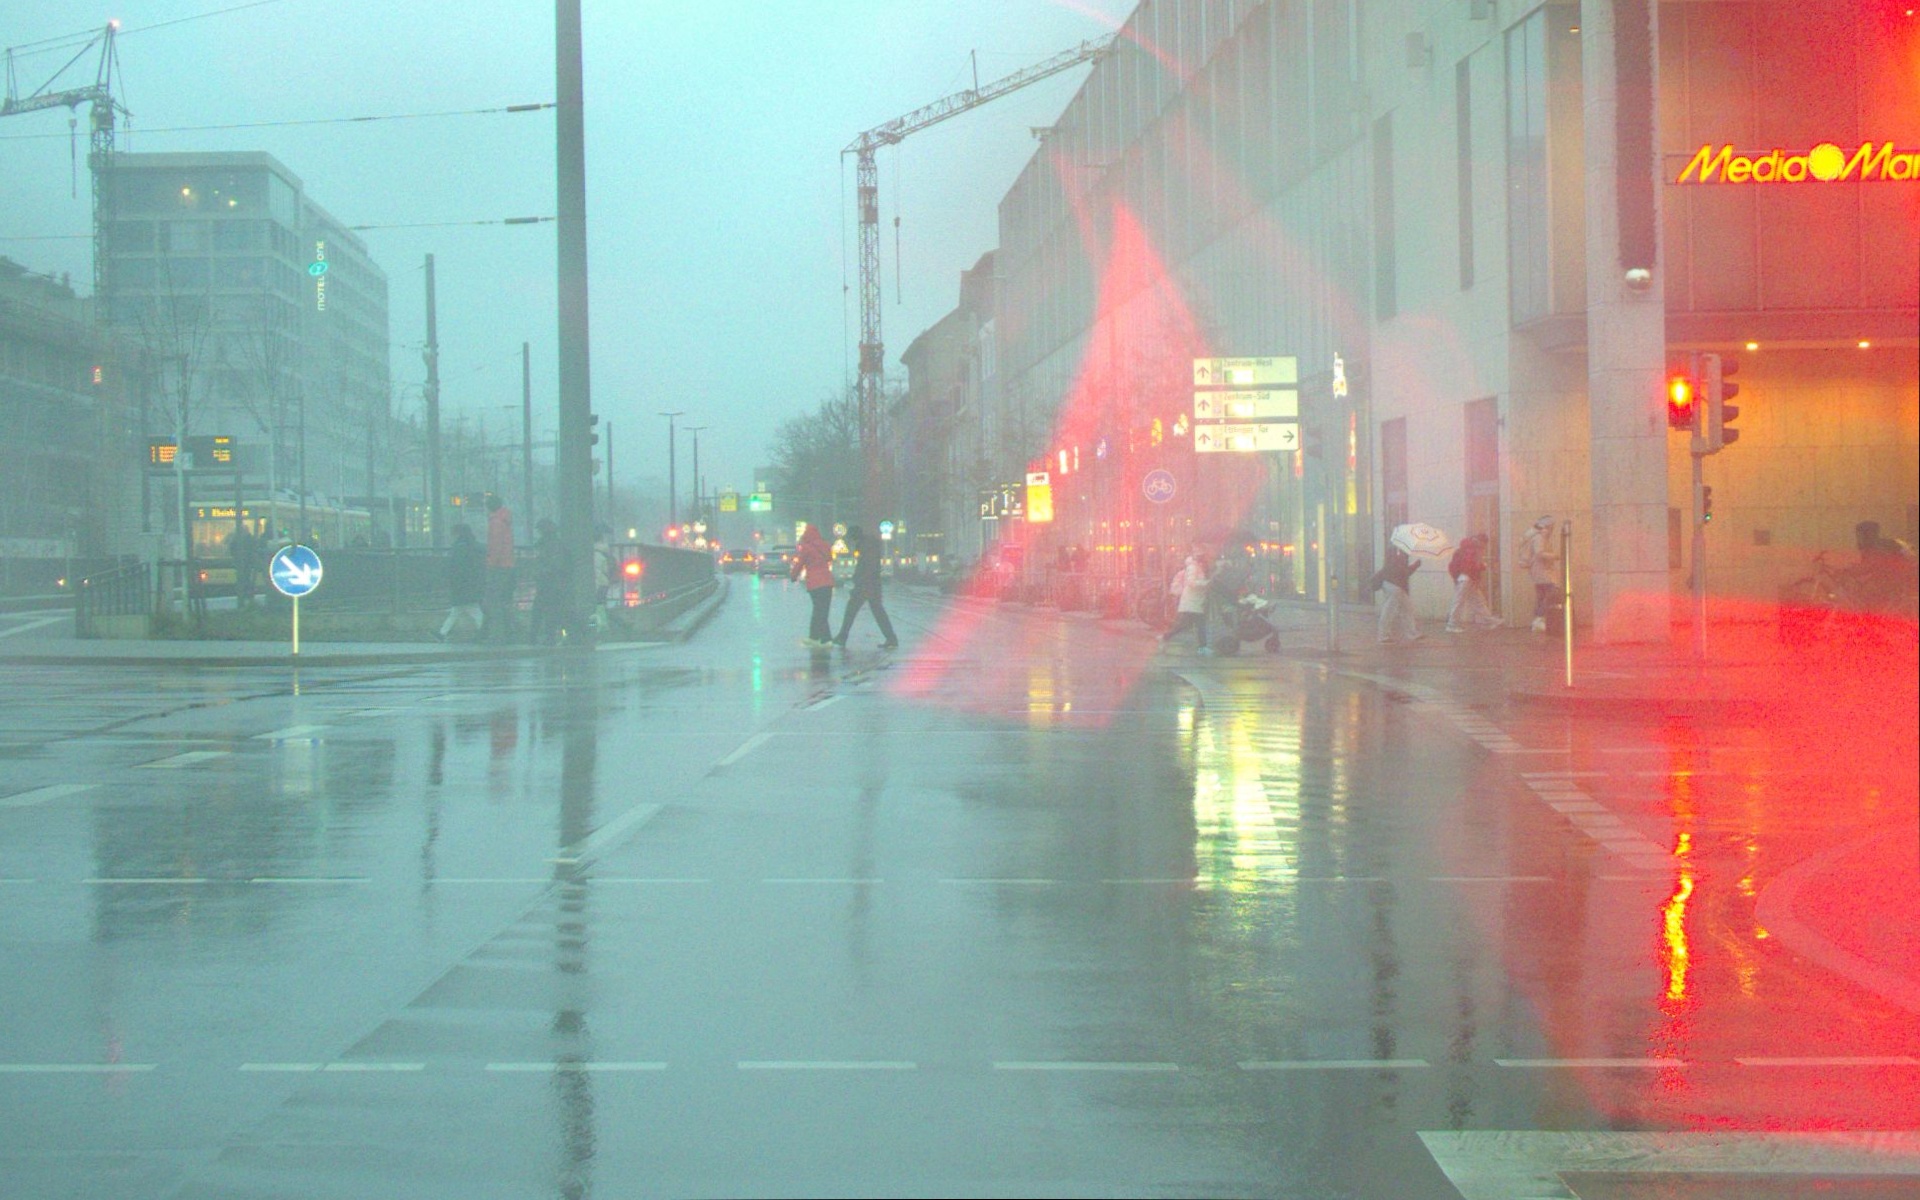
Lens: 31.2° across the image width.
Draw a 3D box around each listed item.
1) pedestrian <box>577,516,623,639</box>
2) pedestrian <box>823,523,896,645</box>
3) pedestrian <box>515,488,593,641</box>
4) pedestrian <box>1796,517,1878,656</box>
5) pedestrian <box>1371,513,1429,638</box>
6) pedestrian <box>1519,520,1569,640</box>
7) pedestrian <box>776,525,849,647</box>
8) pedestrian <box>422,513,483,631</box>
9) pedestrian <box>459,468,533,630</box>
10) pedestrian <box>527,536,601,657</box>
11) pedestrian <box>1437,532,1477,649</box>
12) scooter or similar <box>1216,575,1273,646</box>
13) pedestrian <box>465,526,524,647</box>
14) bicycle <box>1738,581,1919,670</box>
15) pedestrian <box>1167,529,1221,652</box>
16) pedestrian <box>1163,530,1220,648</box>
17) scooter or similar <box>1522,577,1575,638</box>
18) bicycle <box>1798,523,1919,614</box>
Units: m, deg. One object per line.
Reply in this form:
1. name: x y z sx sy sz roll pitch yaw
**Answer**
1. pedestrian: -5.114 -0.323 48.893 0.619 1.740 0.613 -1 1 -6
2. pedestrian: -1.415 -0.227 48.349 0.843 1.682 0.677 -1 1 15
3. pedestrian: -5.362 -0.472 45.416 0.775 2.007 0.613 -2 1 -38
4. pedestrian: 10.011 -0.158 39.255 0.815 1.564 0.536 -1 1 5
5. pedestrian: 6.238 -0.355 48.769 0.702 1.754 0.667 -1 1 0
6. pedestrian: 8.618 -0.294 50.738 0.617 1.754 0.482 -1 1 0
7. pedestrian: -2.046 -0.197 47.684 0.831 1.673 0.619 -1 1 14
8. pedestrian: -7.041 -0.393 47.752 0.706 1.613 0.680 -1 1 1
9. pedestrian: -6.012 -0.658 44.570 0.686 2.080 0.613 -2 1 -40
10. pedestrian: -5.347 -0.048 46.442 0.817 1.613 0.538 -1 1 37
11. pedestrian: 7.482 -0.144 51.779 0.512 1.754 0.374 -1 1 0
12. scooter or similar: 4.037 0.145 48.794 0.741 0.990 0.400 -1 1 12
13. pedestrian: -6.266 -0.184 46.316 0.706 1.613 0.613 -1 1 -3
14. bicycle: 10.009 0.287 39.259 2.129 0.988 0.541 0 0 6
15. pedestrian: 3.395 -0.142 49.882 0.703 1.754 0.652 -1 1 0
16. pedestrian: 3.299 -0.156 48.937 0.741 1.661 0.400 -1 1 12
17. scooter or similar: 9.013 0.108 52.653 0.741 0.913 0.400 -1 1 1
18. bicycle: 13.908 -0.482 51.750 2.425 1.325 0.635 -1 1 -5
